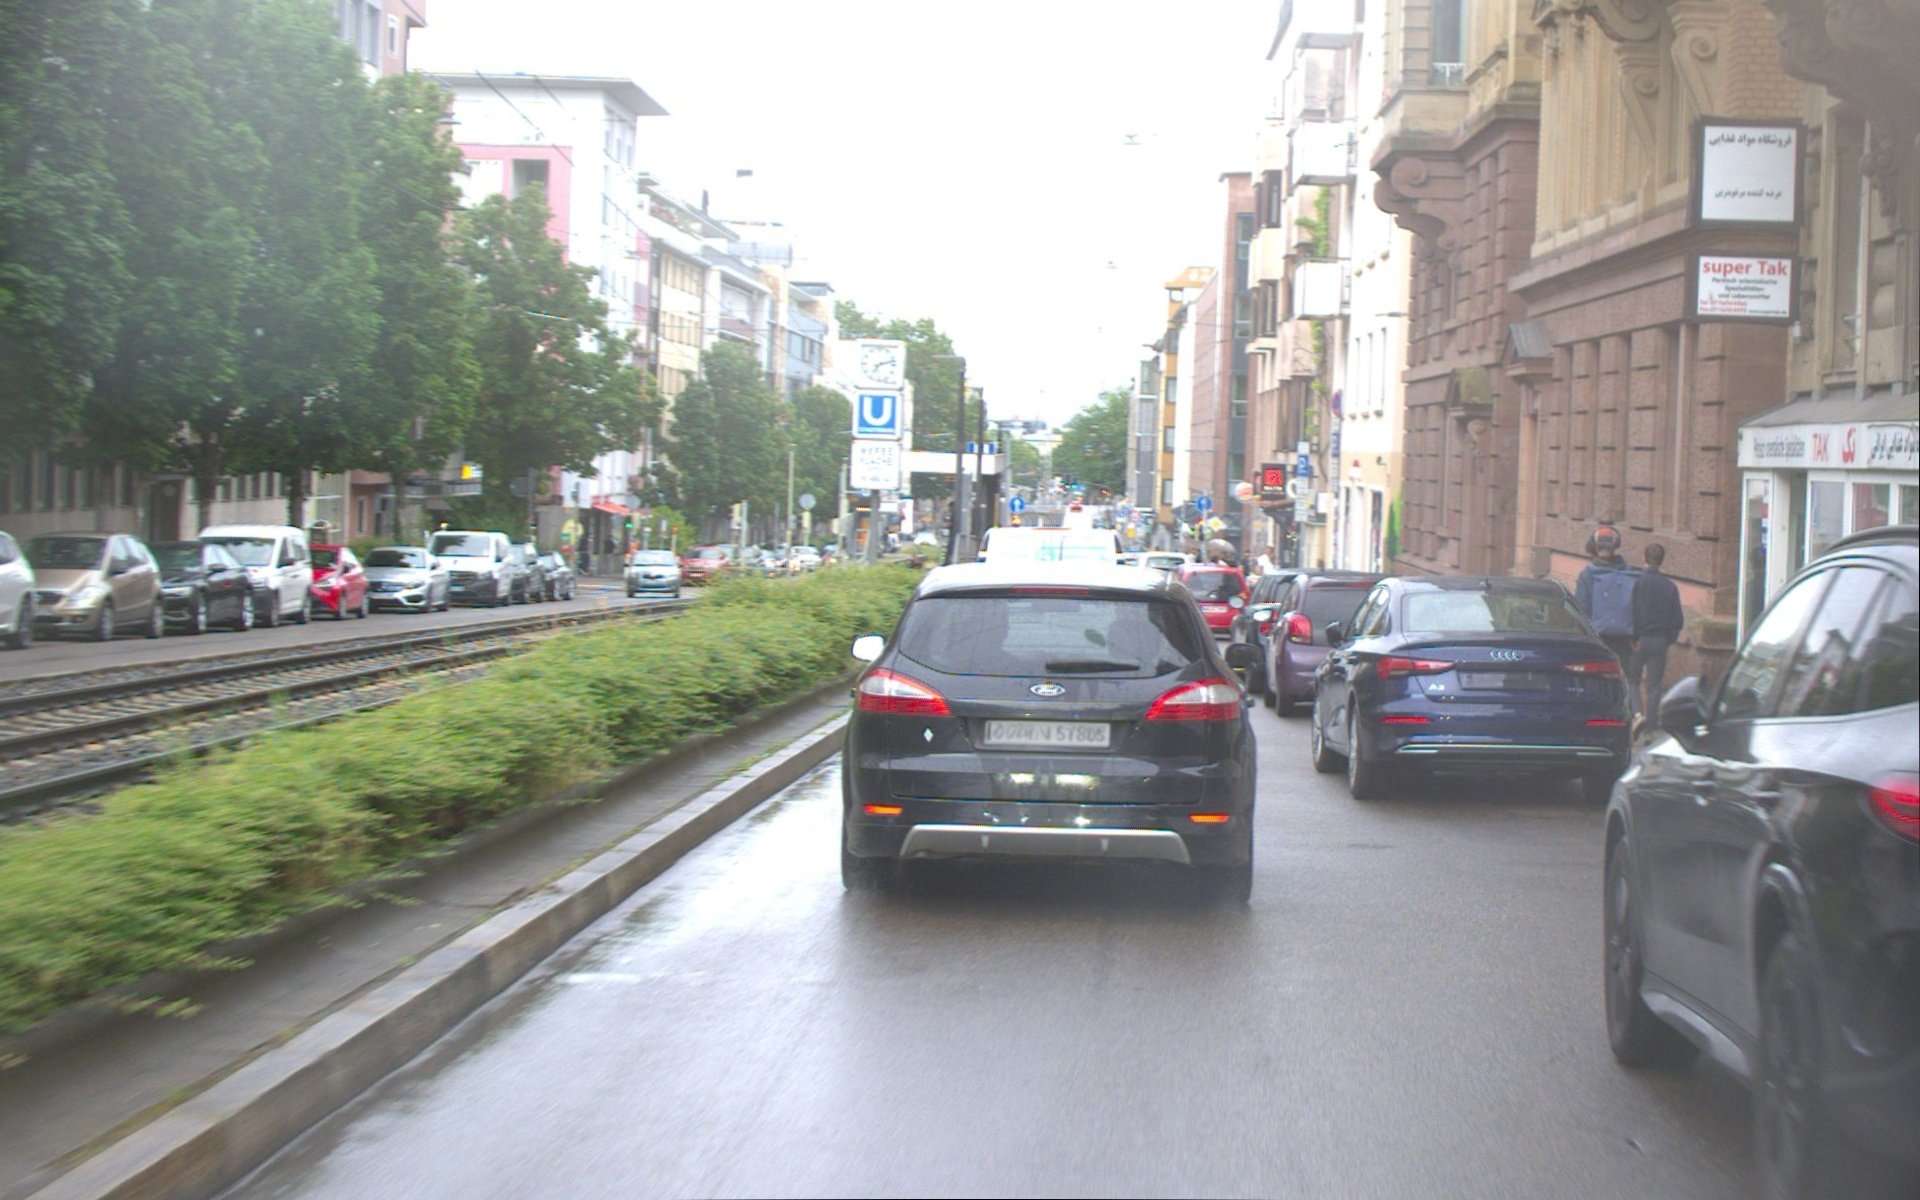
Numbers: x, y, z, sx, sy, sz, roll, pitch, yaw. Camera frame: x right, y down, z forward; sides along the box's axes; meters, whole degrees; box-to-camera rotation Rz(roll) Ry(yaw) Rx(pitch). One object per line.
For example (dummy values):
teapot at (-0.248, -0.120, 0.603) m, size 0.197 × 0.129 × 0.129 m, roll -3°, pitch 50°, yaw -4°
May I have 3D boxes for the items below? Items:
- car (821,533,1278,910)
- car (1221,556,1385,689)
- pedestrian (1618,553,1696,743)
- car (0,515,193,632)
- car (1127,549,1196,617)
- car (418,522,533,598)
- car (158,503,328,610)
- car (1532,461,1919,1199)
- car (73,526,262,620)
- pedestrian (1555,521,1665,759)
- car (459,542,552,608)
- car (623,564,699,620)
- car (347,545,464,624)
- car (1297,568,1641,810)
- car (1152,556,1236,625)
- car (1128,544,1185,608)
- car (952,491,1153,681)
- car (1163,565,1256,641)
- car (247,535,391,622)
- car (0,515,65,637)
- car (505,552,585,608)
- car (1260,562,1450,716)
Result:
car at (0.367, 0.500, 16.125) m, size 1.842 × 1.502 × 4.000 m, roll 1°, pitch 0°, yaw 0°
car at (4.037, 0.251, 40.895) m, size 1.577 × 1.455 × 3.821 m, roll 2°, pitch 0°, yaw 1°
pedestrian at (5.854, 0.405, 28.898) m, size 0.519 × 1.574 × 0.677 m, roll 0°, pitch -1°, yaw 2°
car at (-12.829, -0.355, 50.617) m, size 1.855 × 1.543 × 4.430 m, roll 3°, pitch -1°, yaw 2°
car at (5.912, -0.489, 101.238) m, size 1.839 × 1.775 × 3.778 m, roll 4°, pitch -1°, yaw 3°
car at (-11.787, -0.960, 83.969) m, size 1.855 × 1.631 × 4.934 m, roll 3°, pitch -1°, yaw 2°
car at (-12.745, -0.740, 61.363) m, size 1.855 × 1.695 × 4.430 m, roll 3°, pitch -1°, yaw 2°
car at (2.726, 0.610, 8.893) m, size 1.845 × 1.627 × 4.586 m, roll 2°, pitch -1°, yaw 2°
car at (-12.737, -0.407, 55.517) m, size 1.855 × 1.413 × 4.430 m, roll 0°, pitch -1°, yaw 2°
pedestrian at (5.072, 0.297, 26.863) m, size 0.703 × 1.813 × 0.961 m, roll 0°, pitch 2°, yaw 2°
car at (-11.944, -0.646, 90.500) m, size 1.695 × 1.568 × 4.045 m, roll 3°, pitch -1°, yaw 2°
car at (-9.552, -0.232, 110.155) m, size 1.855 × 1.631 × 4.045 m, roll 3°, pitch -1°, yaw 2°
car at (-11.994, -0.319, 74.632) m, size 1.668 × 1.553 × 4.045 m, roll 3°, pitch -1°, yaw 2°
car at (3.320, 0.570, 23.154) m, size 1.792 × 1.402 × 4.256 m, roll 2°, pitch -1°, yaw 2°
car at (5.101, -0.209, 75.196) m, size 1.670 × 1.416 × 3.476 m, roll 2°, pitch 0°, yaw 2°
car at (6.117, -0.730, 107.195) m, size 1.591 × 1.775 × 3.778 m, roll 4°, pitch -1°, yaw 3°
car at (1.164, -0.191, 40.889) m, size 1.989 × 2.053 × 4.644 m, roll 2°, pitch 1°, yaw 6°
car at (4.955, 0.053, 68.634) m, size 1.670 × 1.416 × 3.476 m, roll 2°, pitch 0°, yaw 2°
car at (-12.552, -0.394, 67.554) m, size 1.855 × 1.522 × 4.045 m, roll 3°, pitch -1°, yaw 2°
car at (-13.187, -0.352, 44.290) m, size 1.855 × 1.543 × 4.720 m, roll 3°, pitch -1°, yaw 2°
car at (-11.594, -0.540, 96.253) m, size 1.550 × 1.390 × 4.045 m, roll 3°, pitch -1°, yaw 2°
car at (4.008, 0.375, 35.304) m, size 1.649 × 1.455 × 3.476 m, roll 2°, pitch 0°, yaw 2°
